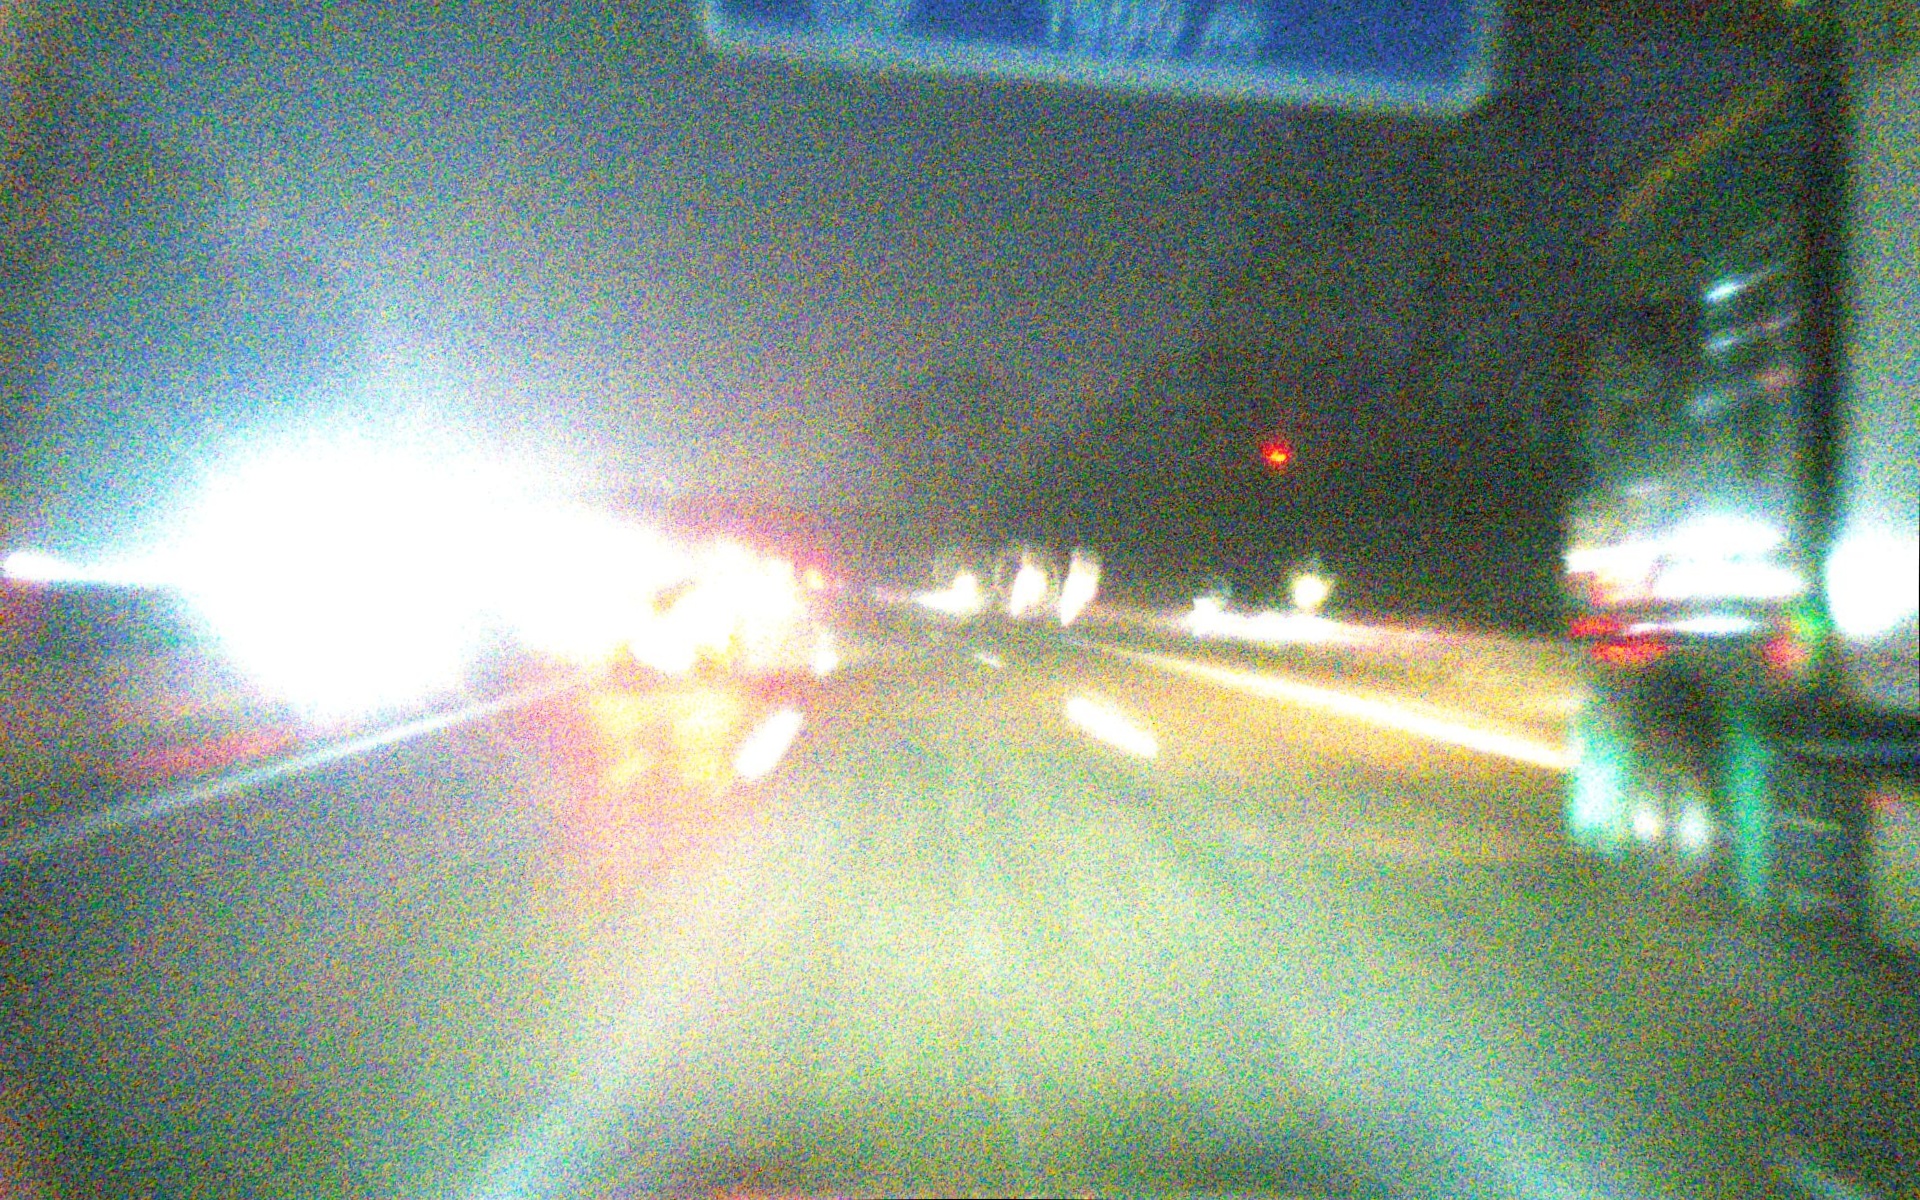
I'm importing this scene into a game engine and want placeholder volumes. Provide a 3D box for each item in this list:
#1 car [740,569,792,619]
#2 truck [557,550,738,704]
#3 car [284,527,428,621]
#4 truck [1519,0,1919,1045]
[{"bbox_3d":[-8.955,-0.289,76.678,1.954,2.048,3.999,5,2,-3],"label":"car"},{"bbox_3d":[-5.014,0.304,27.510,2.102,2.113,6.600,2,2,-4],"label":"truck"},{"bbox_3d":[-15.014,-0.708,41.443,1.955,2.048,5.191,5,2,-5],"label":"car"},{"bbox_3d":[4.583,-0.655,6.905,2.655,4.315,5.292,0,1,-1],"label":"truck"}]
